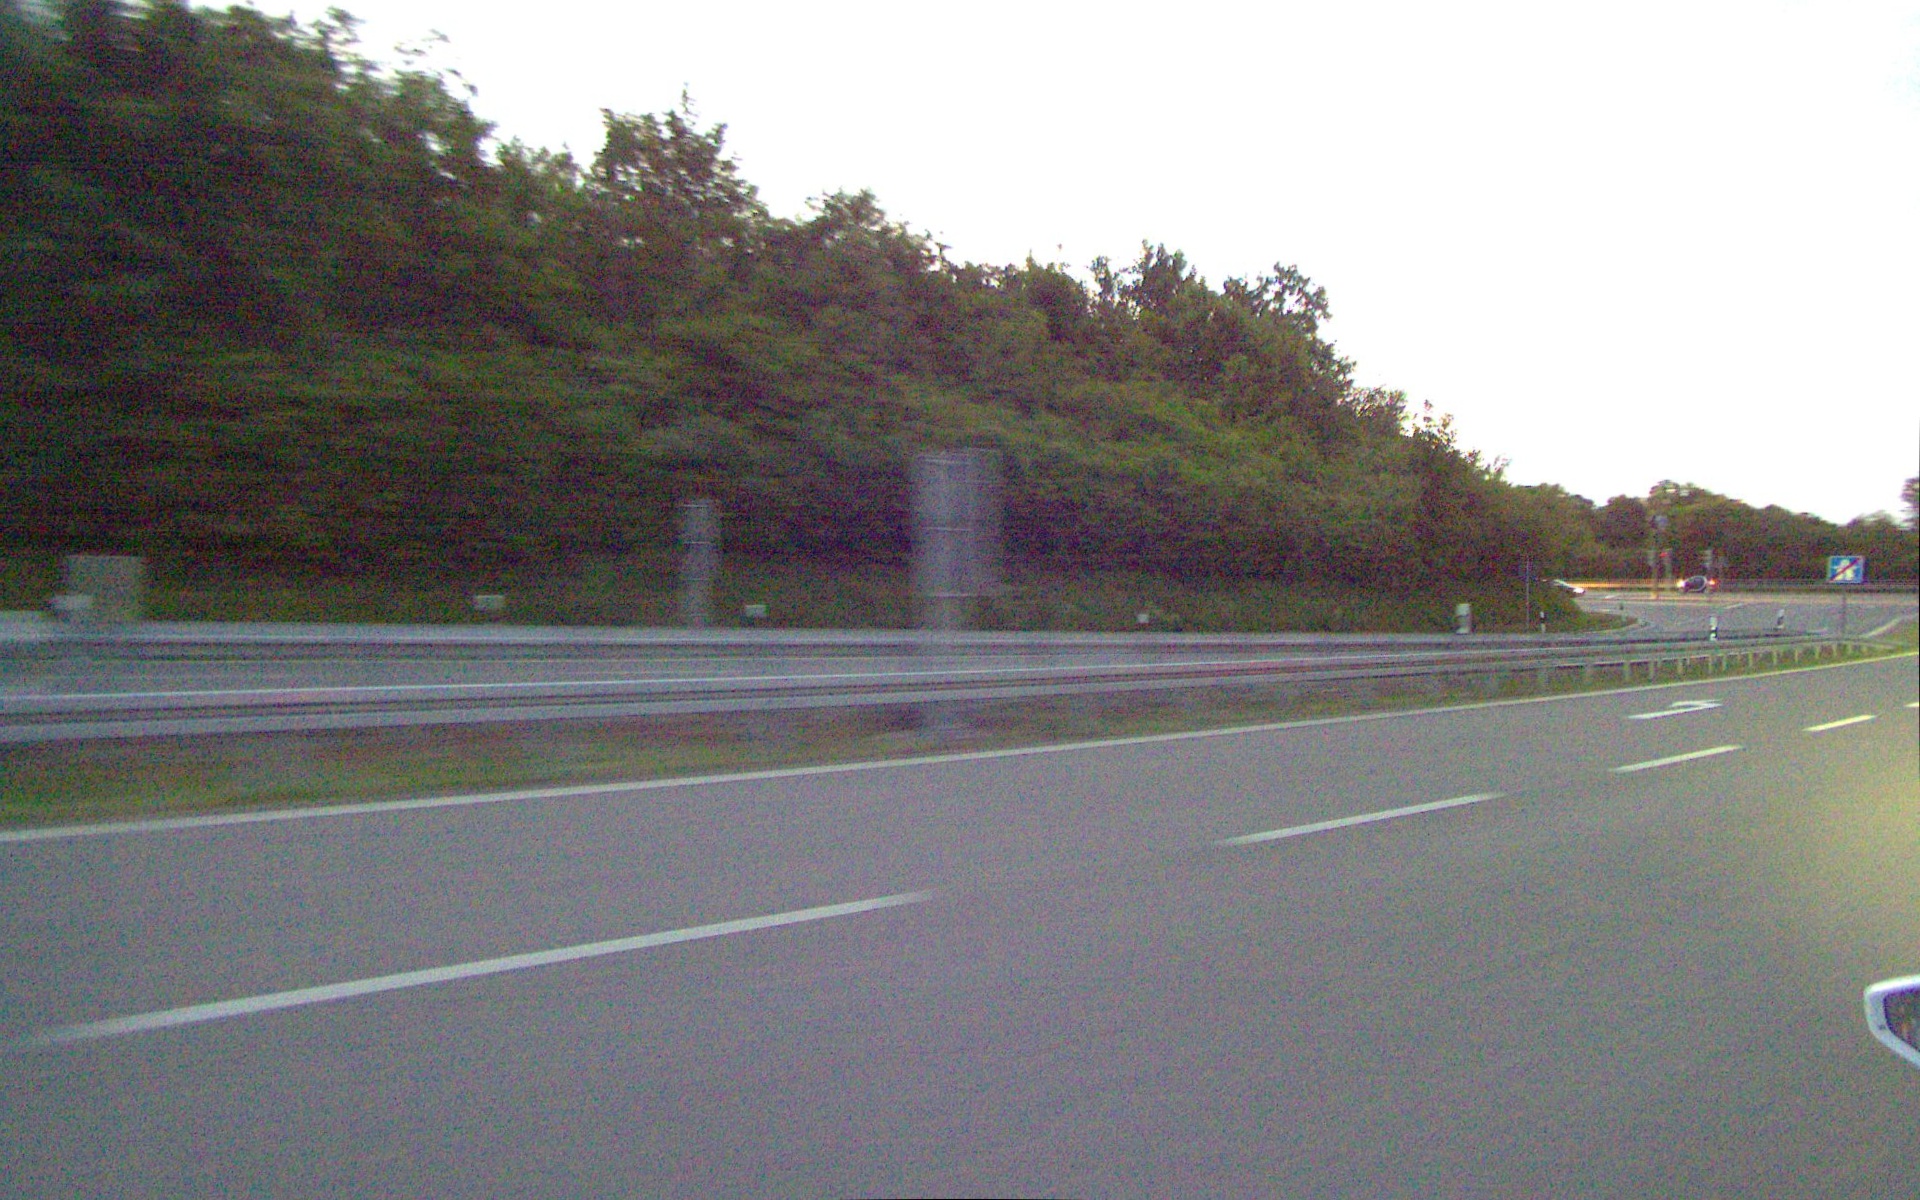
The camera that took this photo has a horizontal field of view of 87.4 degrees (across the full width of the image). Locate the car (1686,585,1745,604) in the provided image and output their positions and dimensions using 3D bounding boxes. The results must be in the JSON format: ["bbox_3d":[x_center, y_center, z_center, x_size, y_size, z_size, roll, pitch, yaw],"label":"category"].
[{"bbox_3d":[65.725,-0.471,87.400,3.939,1.472,1.991,4,2,40],"label":"car"}]

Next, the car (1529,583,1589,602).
[{"bbox_3d":[48.011,-0.598,80.552,3.939,1.472,1.991,0,0,39],"label":"car"}]
